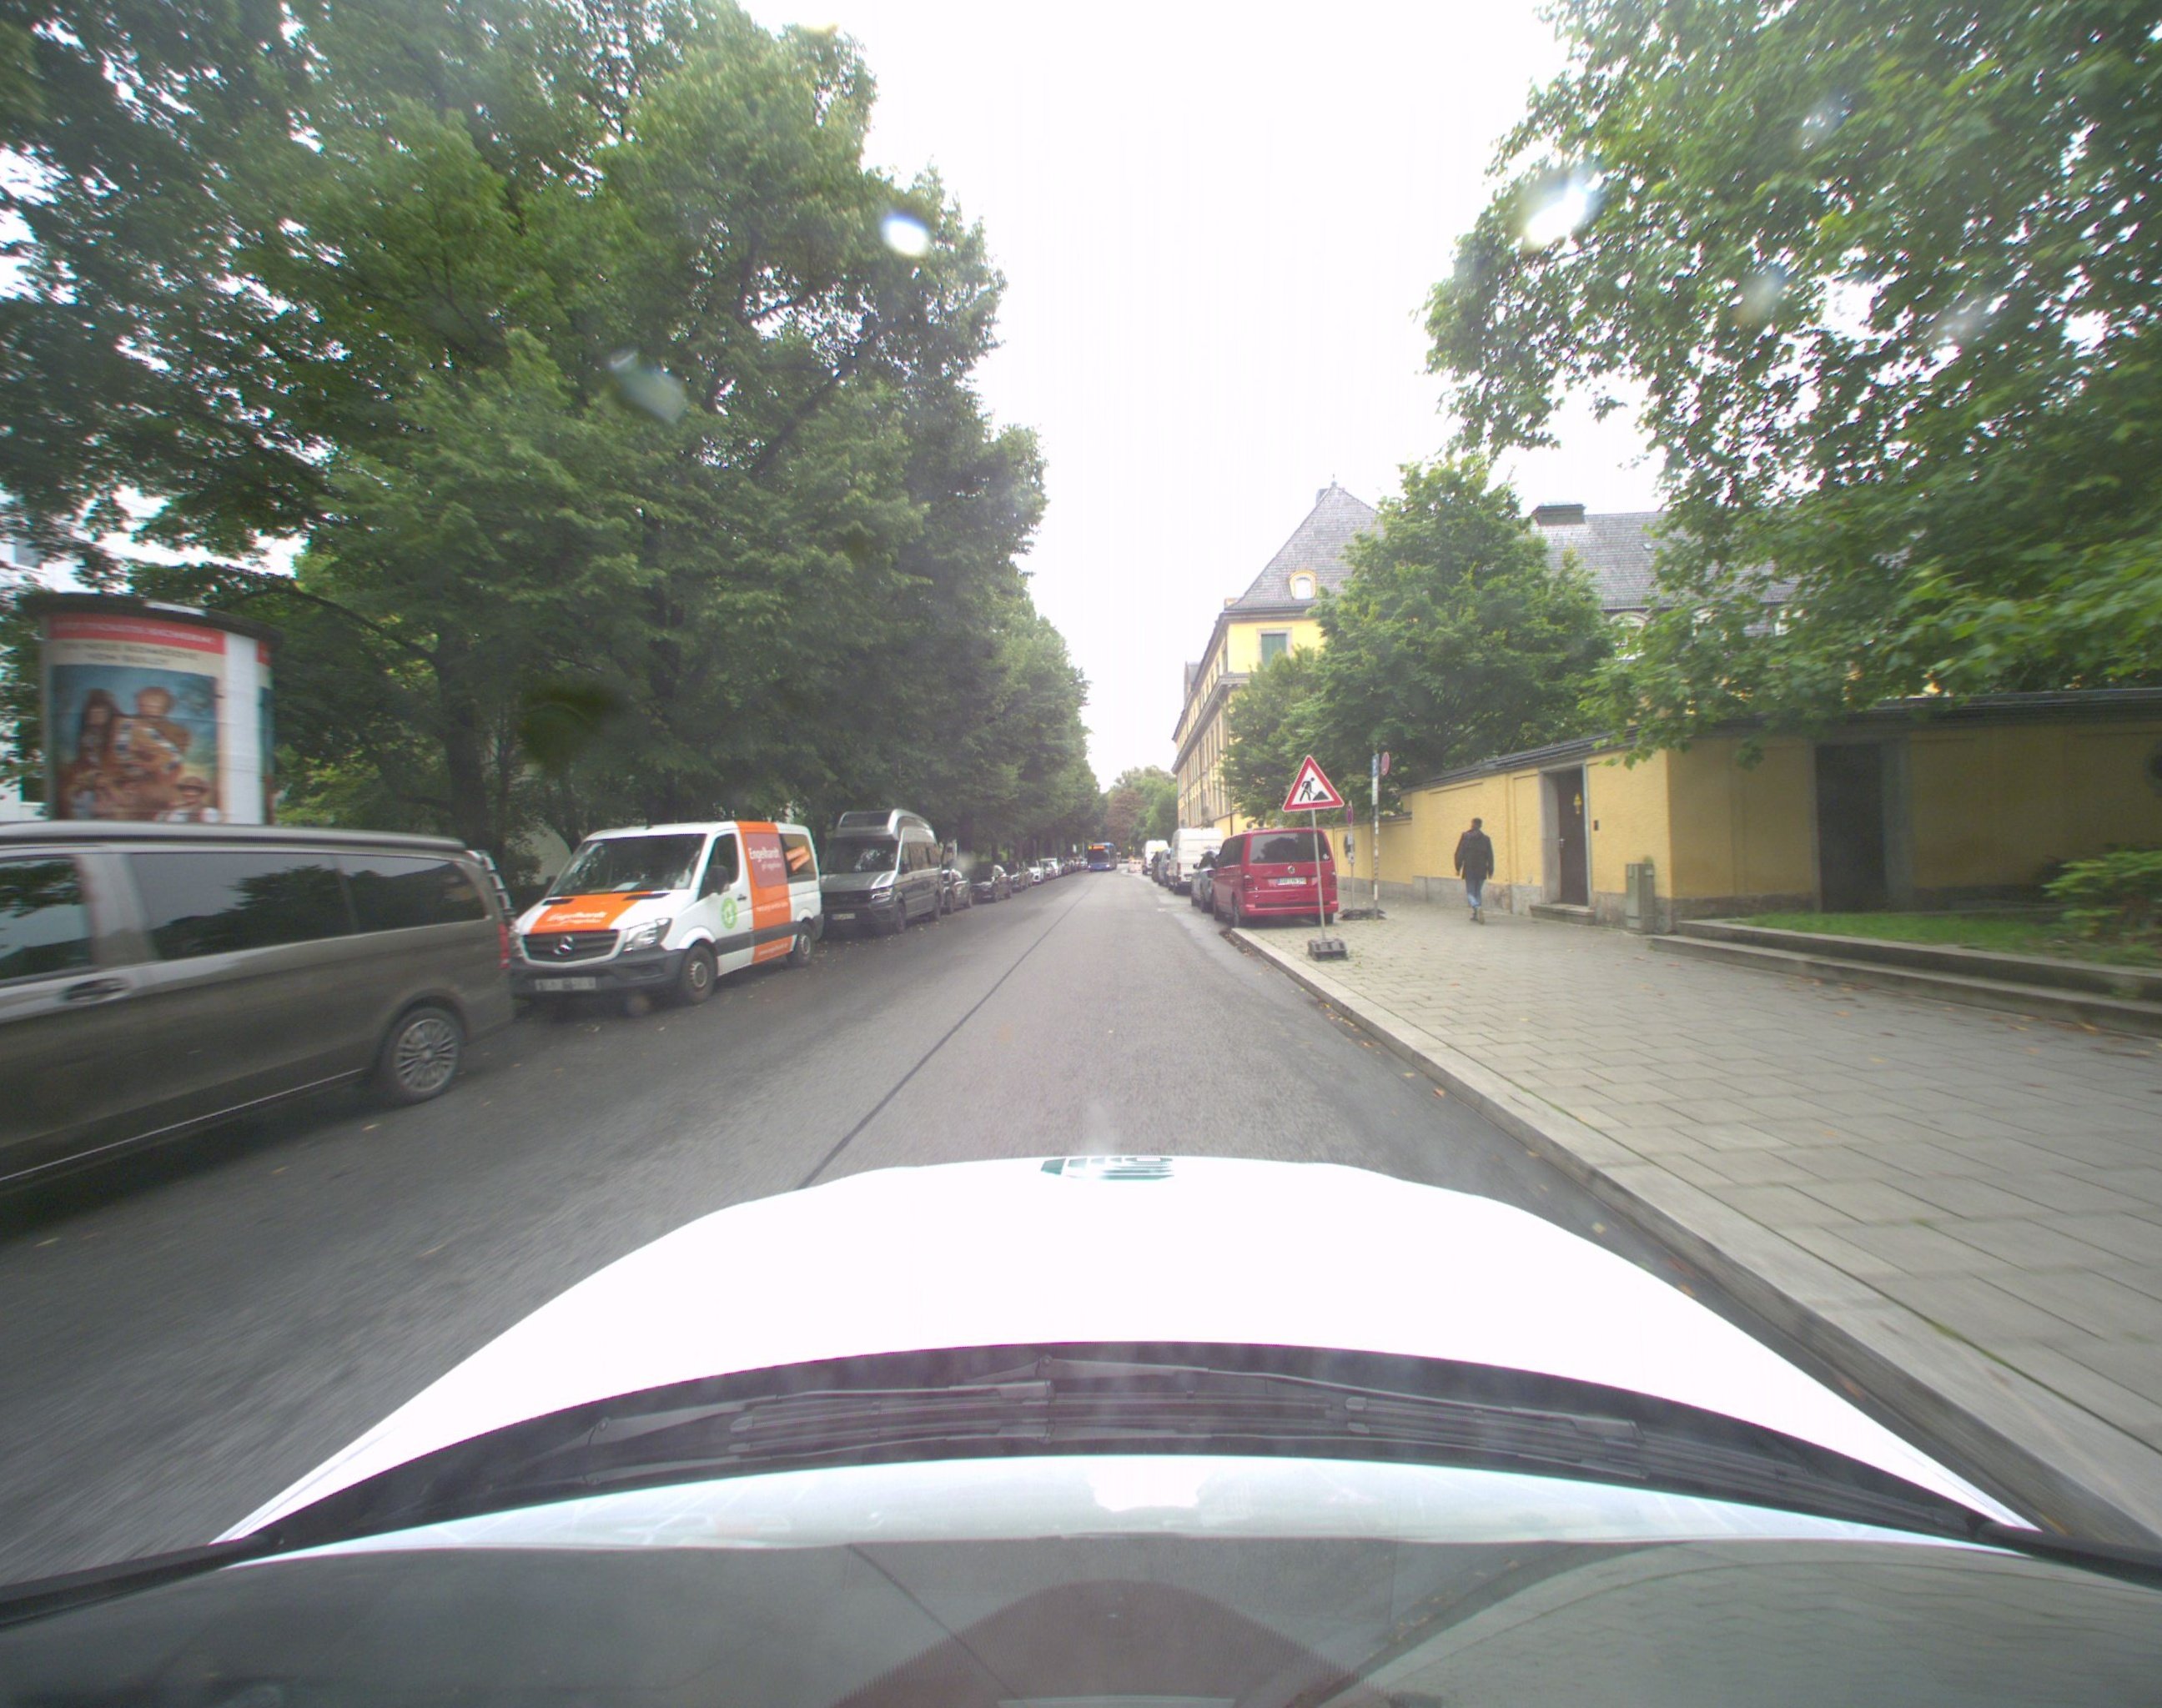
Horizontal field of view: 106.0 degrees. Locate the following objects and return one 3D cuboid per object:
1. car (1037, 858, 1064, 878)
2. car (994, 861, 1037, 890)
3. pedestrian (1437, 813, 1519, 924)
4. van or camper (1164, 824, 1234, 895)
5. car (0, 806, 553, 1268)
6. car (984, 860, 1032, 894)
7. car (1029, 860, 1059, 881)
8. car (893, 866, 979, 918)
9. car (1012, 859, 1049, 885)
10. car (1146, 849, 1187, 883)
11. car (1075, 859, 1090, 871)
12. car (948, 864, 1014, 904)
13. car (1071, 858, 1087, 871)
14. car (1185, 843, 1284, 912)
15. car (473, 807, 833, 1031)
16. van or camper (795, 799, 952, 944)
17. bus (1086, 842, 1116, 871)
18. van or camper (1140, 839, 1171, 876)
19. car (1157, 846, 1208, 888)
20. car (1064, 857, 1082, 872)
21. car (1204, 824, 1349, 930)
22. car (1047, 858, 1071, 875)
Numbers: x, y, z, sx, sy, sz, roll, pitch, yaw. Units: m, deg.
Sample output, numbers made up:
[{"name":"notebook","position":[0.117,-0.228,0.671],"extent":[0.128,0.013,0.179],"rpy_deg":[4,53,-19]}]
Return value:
[{"name":"car","position":[-2.487,1.128,67.276],"extent":[1.845,1.564,4.002],"rpy_deg":[-2,0,2]},{"name":"car","position":[-3.599,1.168,45.512],"extent":[1.845,1.473,4.002],"rpy_deg":[-2,0,2]},{"name":"pedestrian","position":[6.914,0.244,14.238],"extent":[0.870,1.831,1.053],"rpy_deg":[-2,0,3]},{"name":"van or camper","position":[4.682,0.210,33.013],"extent":[2.123,2.546,5.246],"rpy_deg":[-3,0,2]},{"name":"car","position":[-5.493,0.820,4.309],"extent":[1.881,1.933,5.207],"rpy_deg":[-3,0,0]},{"name":"car","position":[-3.564,1.105,40.399],"extent":[1.846,1.473,4.001],"rpy_deg":[-2,0,1]},{"name":"car","position":[-2.783,1.200,61.565],"extent":[1.845,1.473,4.002],"rpy_deg":[-2,0,2]},{"name":"car","position":[-4.566,1.157,26.220],"extent":[1.867,1.416,4.002],"rpy_deg":[-2,0,2]},{"name":"car","position":[-3.141,1.112,51.455],"extent":[1.845,1.473,4.002],"rpy_deg":[-2,0,2]},{"name":"car","position":[5.104,0.722,49.138],"extent":[1.984,1.844,4.323],"rpy_deg":[-3,0,1]},{"name":"car","position":[0.168,1.449,110.991],"extent":[1.845,1.473,4.002],"rpy_deg":[-2,0,2]},{"name":"car","position":[-3.829,1.118,31.753],"extent":[1.867,1.347,4.002],"rpy_deg":[-2,0,2]},{"name":"car","position":[-0.205,1.361,104.989],"extent":[1.845,1.572,4.002],"rpy_deg":[-2,0,2]},{"name":"car","position":[4.129,0.596,22.629],"extent":[1.984,1.609,4.323],"rpy_deg":[-3,0,1]},{"name":"car","position":[-5.364,0.703,11.299],"extent":[1.939,2.272,5.246],"rpy_deg":[-3,0,2]},{"name":"van or camper","position":[-4.868,0.380,20.246],"extent":[1.993,2.945,6.014],"rpy_deg":[-3,0,2]},{"name":"bus","position":[2.384,0.285,93.003],"extent":[2.701,2.899,14.568],"rpy_deg":[-2,0,4]},{"name":"van or camper","position":[5.898,0.278,65.026],"extent":[2.107,2.732,5.246],"rpy_deg":[-3,0,3]},{"name":"car","position":[4.960,0.628,40.206],"extent":[1.984,1.844,4.323],"rpy_deg":[-3,0,1]},{"name":"car","position":[-0.932,1.259,96.277],"extent":[1.845,1.701,4.002],"rpy_deg":[-2,0,2]},{"name":"car","position":[3.955,0.430,17.369],"extent":[1.984,1.839,4.715],"rpy_deg":[-3,0,2]},{"name":"car","position":[-1.940,1.125,74.117],"extent":[1.845,1.473,4.002],"rpy_deg":[-2,0,2]}]
